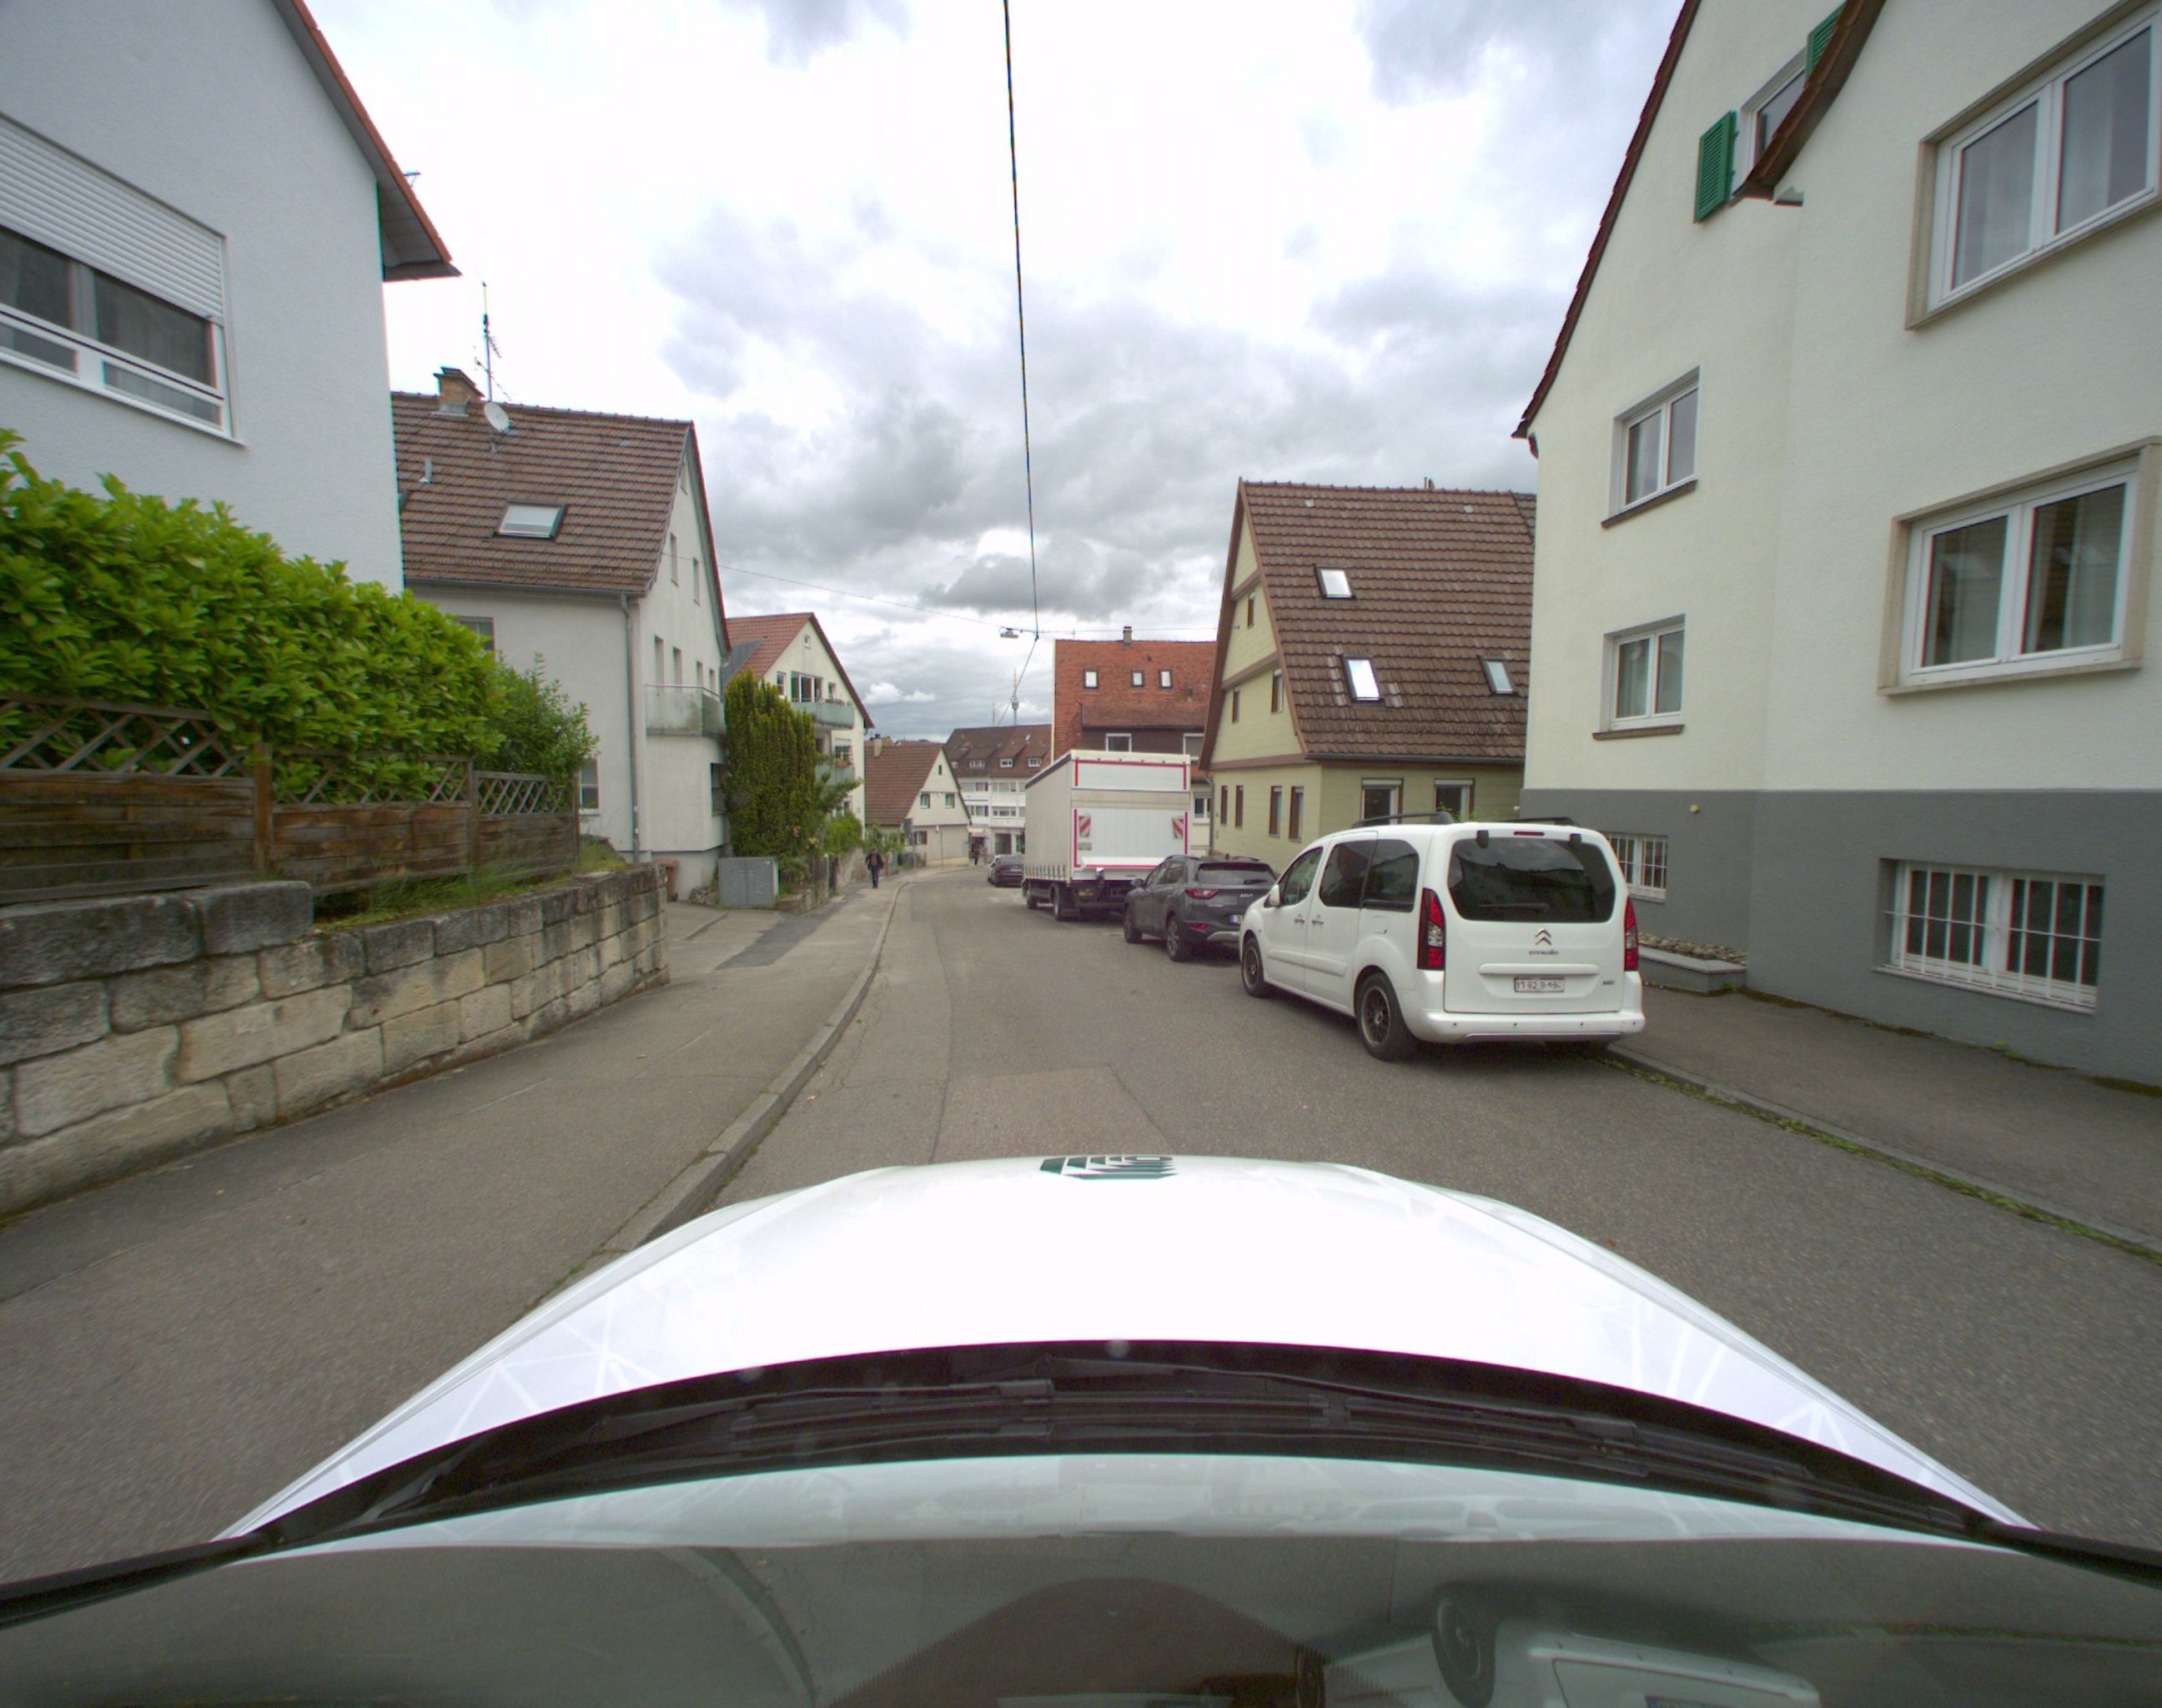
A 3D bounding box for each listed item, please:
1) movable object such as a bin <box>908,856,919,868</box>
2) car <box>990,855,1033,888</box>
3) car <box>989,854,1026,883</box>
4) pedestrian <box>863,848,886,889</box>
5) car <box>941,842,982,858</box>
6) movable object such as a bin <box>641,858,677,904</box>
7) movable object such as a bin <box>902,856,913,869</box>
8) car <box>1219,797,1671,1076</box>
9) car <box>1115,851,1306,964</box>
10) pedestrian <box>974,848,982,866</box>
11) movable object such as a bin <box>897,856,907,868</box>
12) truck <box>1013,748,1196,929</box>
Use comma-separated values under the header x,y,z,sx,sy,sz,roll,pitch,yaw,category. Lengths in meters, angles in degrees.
x,y,z,sx,sy,sz,roll,pitch,yaw,category
-12.568,0.615,61.155,0.522,0.884,0.493,4,0,24,movable object such as a bin
-3.318,0.789,38.338,1.674,1.408,4.037,2,0,-10,car
-3.995,0.749,43.737,1.793,1.445,4.286,1,0,-8,car
-8.610,0.590,34.038,0.840,1.678,0.973,2,-1,-12,pedestrian
-13.589,-0.457,92.628,4.312,1.779,1.960,1,2,34,car
-9.218,0.592,17.804,0.512,0.901,0.430,7,4,-12,movable object such as a bin
-13.064,0.619,61.303,0.522,0.917,0.493,4,0,24,movable object such as a bin
2.835,0.548,7.574,1.834,1.814,4.292,1,0,-8,car
1.855,0.742,13.014,1.733,1.506,4.035,1,-1,-11,car
-9.863,0.301,77.623,0.648,1.684,0.600,0,1,-20,pedestrian
-13.543,0.607,61.566,0.490,0.878,0.455,4,0,24,movable object such as a bin
0.181,-0.322,20.403,2.678,3.597,8.071,0,0,-13,truck
